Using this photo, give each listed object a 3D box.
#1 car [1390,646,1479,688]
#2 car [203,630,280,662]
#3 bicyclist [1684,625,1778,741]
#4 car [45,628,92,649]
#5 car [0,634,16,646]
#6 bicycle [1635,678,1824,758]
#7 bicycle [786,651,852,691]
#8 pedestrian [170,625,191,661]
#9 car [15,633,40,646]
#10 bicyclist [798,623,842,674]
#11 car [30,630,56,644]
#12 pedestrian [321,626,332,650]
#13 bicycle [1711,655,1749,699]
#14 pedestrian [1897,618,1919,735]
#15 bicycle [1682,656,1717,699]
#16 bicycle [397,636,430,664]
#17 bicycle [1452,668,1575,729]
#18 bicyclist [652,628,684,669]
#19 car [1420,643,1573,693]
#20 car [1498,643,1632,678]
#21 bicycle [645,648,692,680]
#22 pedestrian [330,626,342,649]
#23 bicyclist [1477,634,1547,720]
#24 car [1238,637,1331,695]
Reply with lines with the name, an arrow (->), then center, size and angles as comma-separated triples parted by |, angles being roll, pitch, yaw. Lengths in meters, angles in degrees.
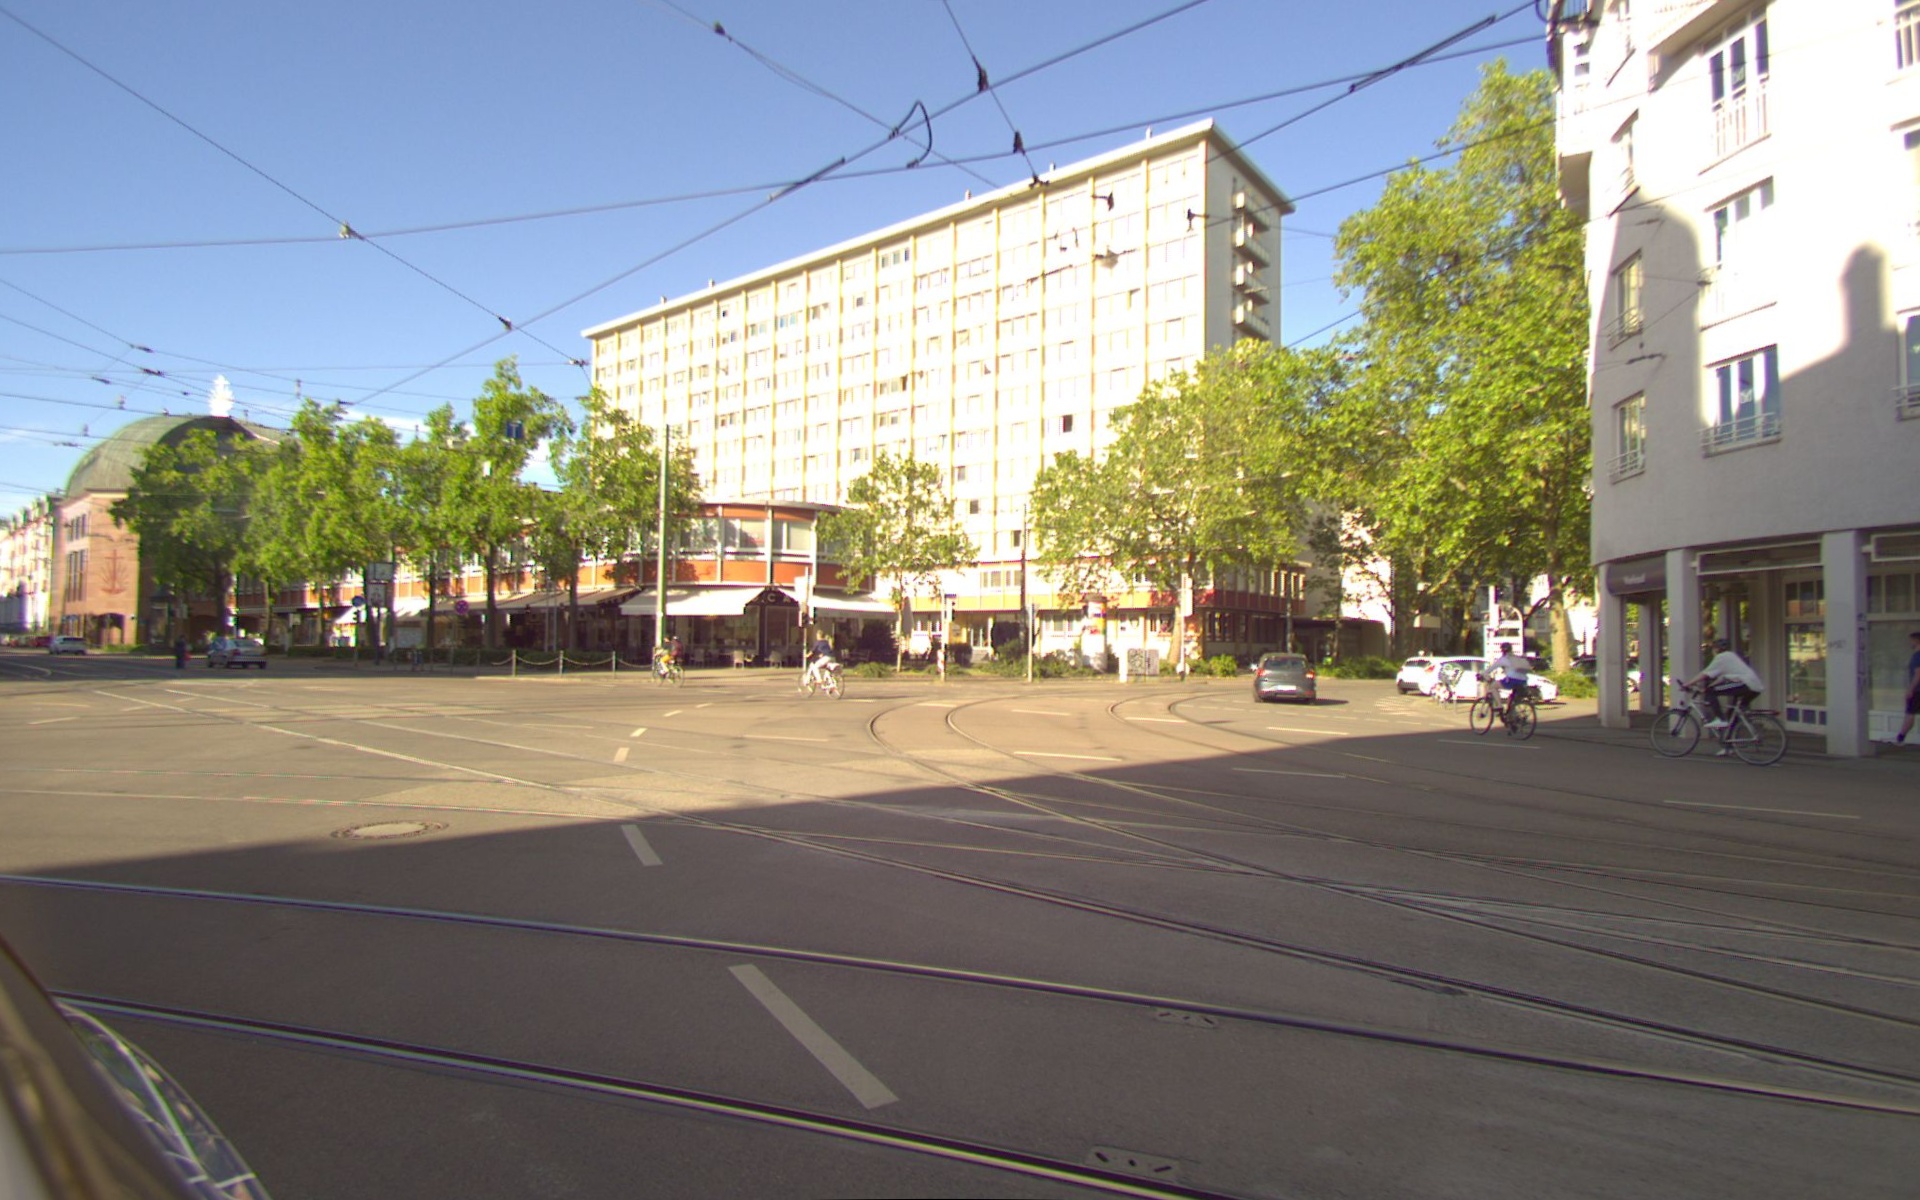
car -> 18.312, 2.569, 38.998 | 3.949, 1.414, 1.804 | 1, -5, -45
car -> -35.296, 2.261, 49.672 | 4.646, 1.463, 1.973 | -3, -4, 40
bicyclist -> 11.038, 1.160, 14.505 | 0.580, 1.597, 0.898 | 2, -3, -35
car -> -67.008, 2.878, 76.014 | 4.498, 1.463, 1.973 | -3, -4, 40
car -> -123.472, 5.203, 130.741 | 3.852, 1.465, 1.831 | -3, -3, 42
bicycle -> 10.943, 1.647, 14.474 | 0.586, 0.980, 2.052 | 2, -3, -35
bicycle -> -3.662, 1.829, 26.189 | 1.852, 0.980, 0.588 | -2, -3, 39
pedestrian -> -34.089, 1.884, 44.254 | 0.858, 1.529, 0.494 | -4, -6, 41
car -> -110.974, 4.659, 120.397 | 3.852, 1.465, 1.831 | -3, -3, 42
bicyclist -> -3.621, 1.257, 26.176 | 0.991, 1.295, 0.583 | -2, -3, 39
car -> -103.370, 4.203, 114.092 | 3.468, 1.465, 1.731 | -3, -3, 40
pedestrian -> -48.631, 2.936, 77.679 | 0.706, 1.785, 0.566 | -3, -4, 43
bicycle -> 23.810, 2.370, 31.326 | 0.597, 1.244, 2.863 | -4, -4, 32
pedestrian -> 15.497, 1.199, 16.013 | 0.454, 1.847, 0.748 | 0, -4, -25
bicycle -> 23.143, 2.411, 31.703 | 0.597, 1.244, 2.863 | -4, -4, 32
bicycle -> -24.149, 2.228, 44.740 | 2.233, 1.196, 0.492 | -3, -4, 40
bicycle -> 9.919, 1.749, 18.243 | 0.585, 0.980, 2.018 | 1, -3, -22
bicyclist -> -9.442, 1.565, 32.725 | 0.927, 1.295, 0.582 | -2, -3, 42
car -> 16.853, 2.157, 31.971 | 4.083, 1.414, 1.786 | -4, -4, 28
car -> 24.660, 2.459, 41.300 | 4.402, 1.345, 1.973 | -3, -3, 41
bicycle -> -9.451, 2.067, 32.732 | 1.817, 0.980, 0.587 | -2, -3, 42
pedestrian -> -48.205, 2.919, 78.210 | 0.706, 1.764, 0.566 | -3, -4, 43
bicyclist -> 9.926, 1.365, 18.214 | 0.580, 1.499, 0.931 | 1, -3, -22
car -> 9.512, 1.902, 29.974 | 1.977, 1.608, 3.989 | 0, -2, 8
